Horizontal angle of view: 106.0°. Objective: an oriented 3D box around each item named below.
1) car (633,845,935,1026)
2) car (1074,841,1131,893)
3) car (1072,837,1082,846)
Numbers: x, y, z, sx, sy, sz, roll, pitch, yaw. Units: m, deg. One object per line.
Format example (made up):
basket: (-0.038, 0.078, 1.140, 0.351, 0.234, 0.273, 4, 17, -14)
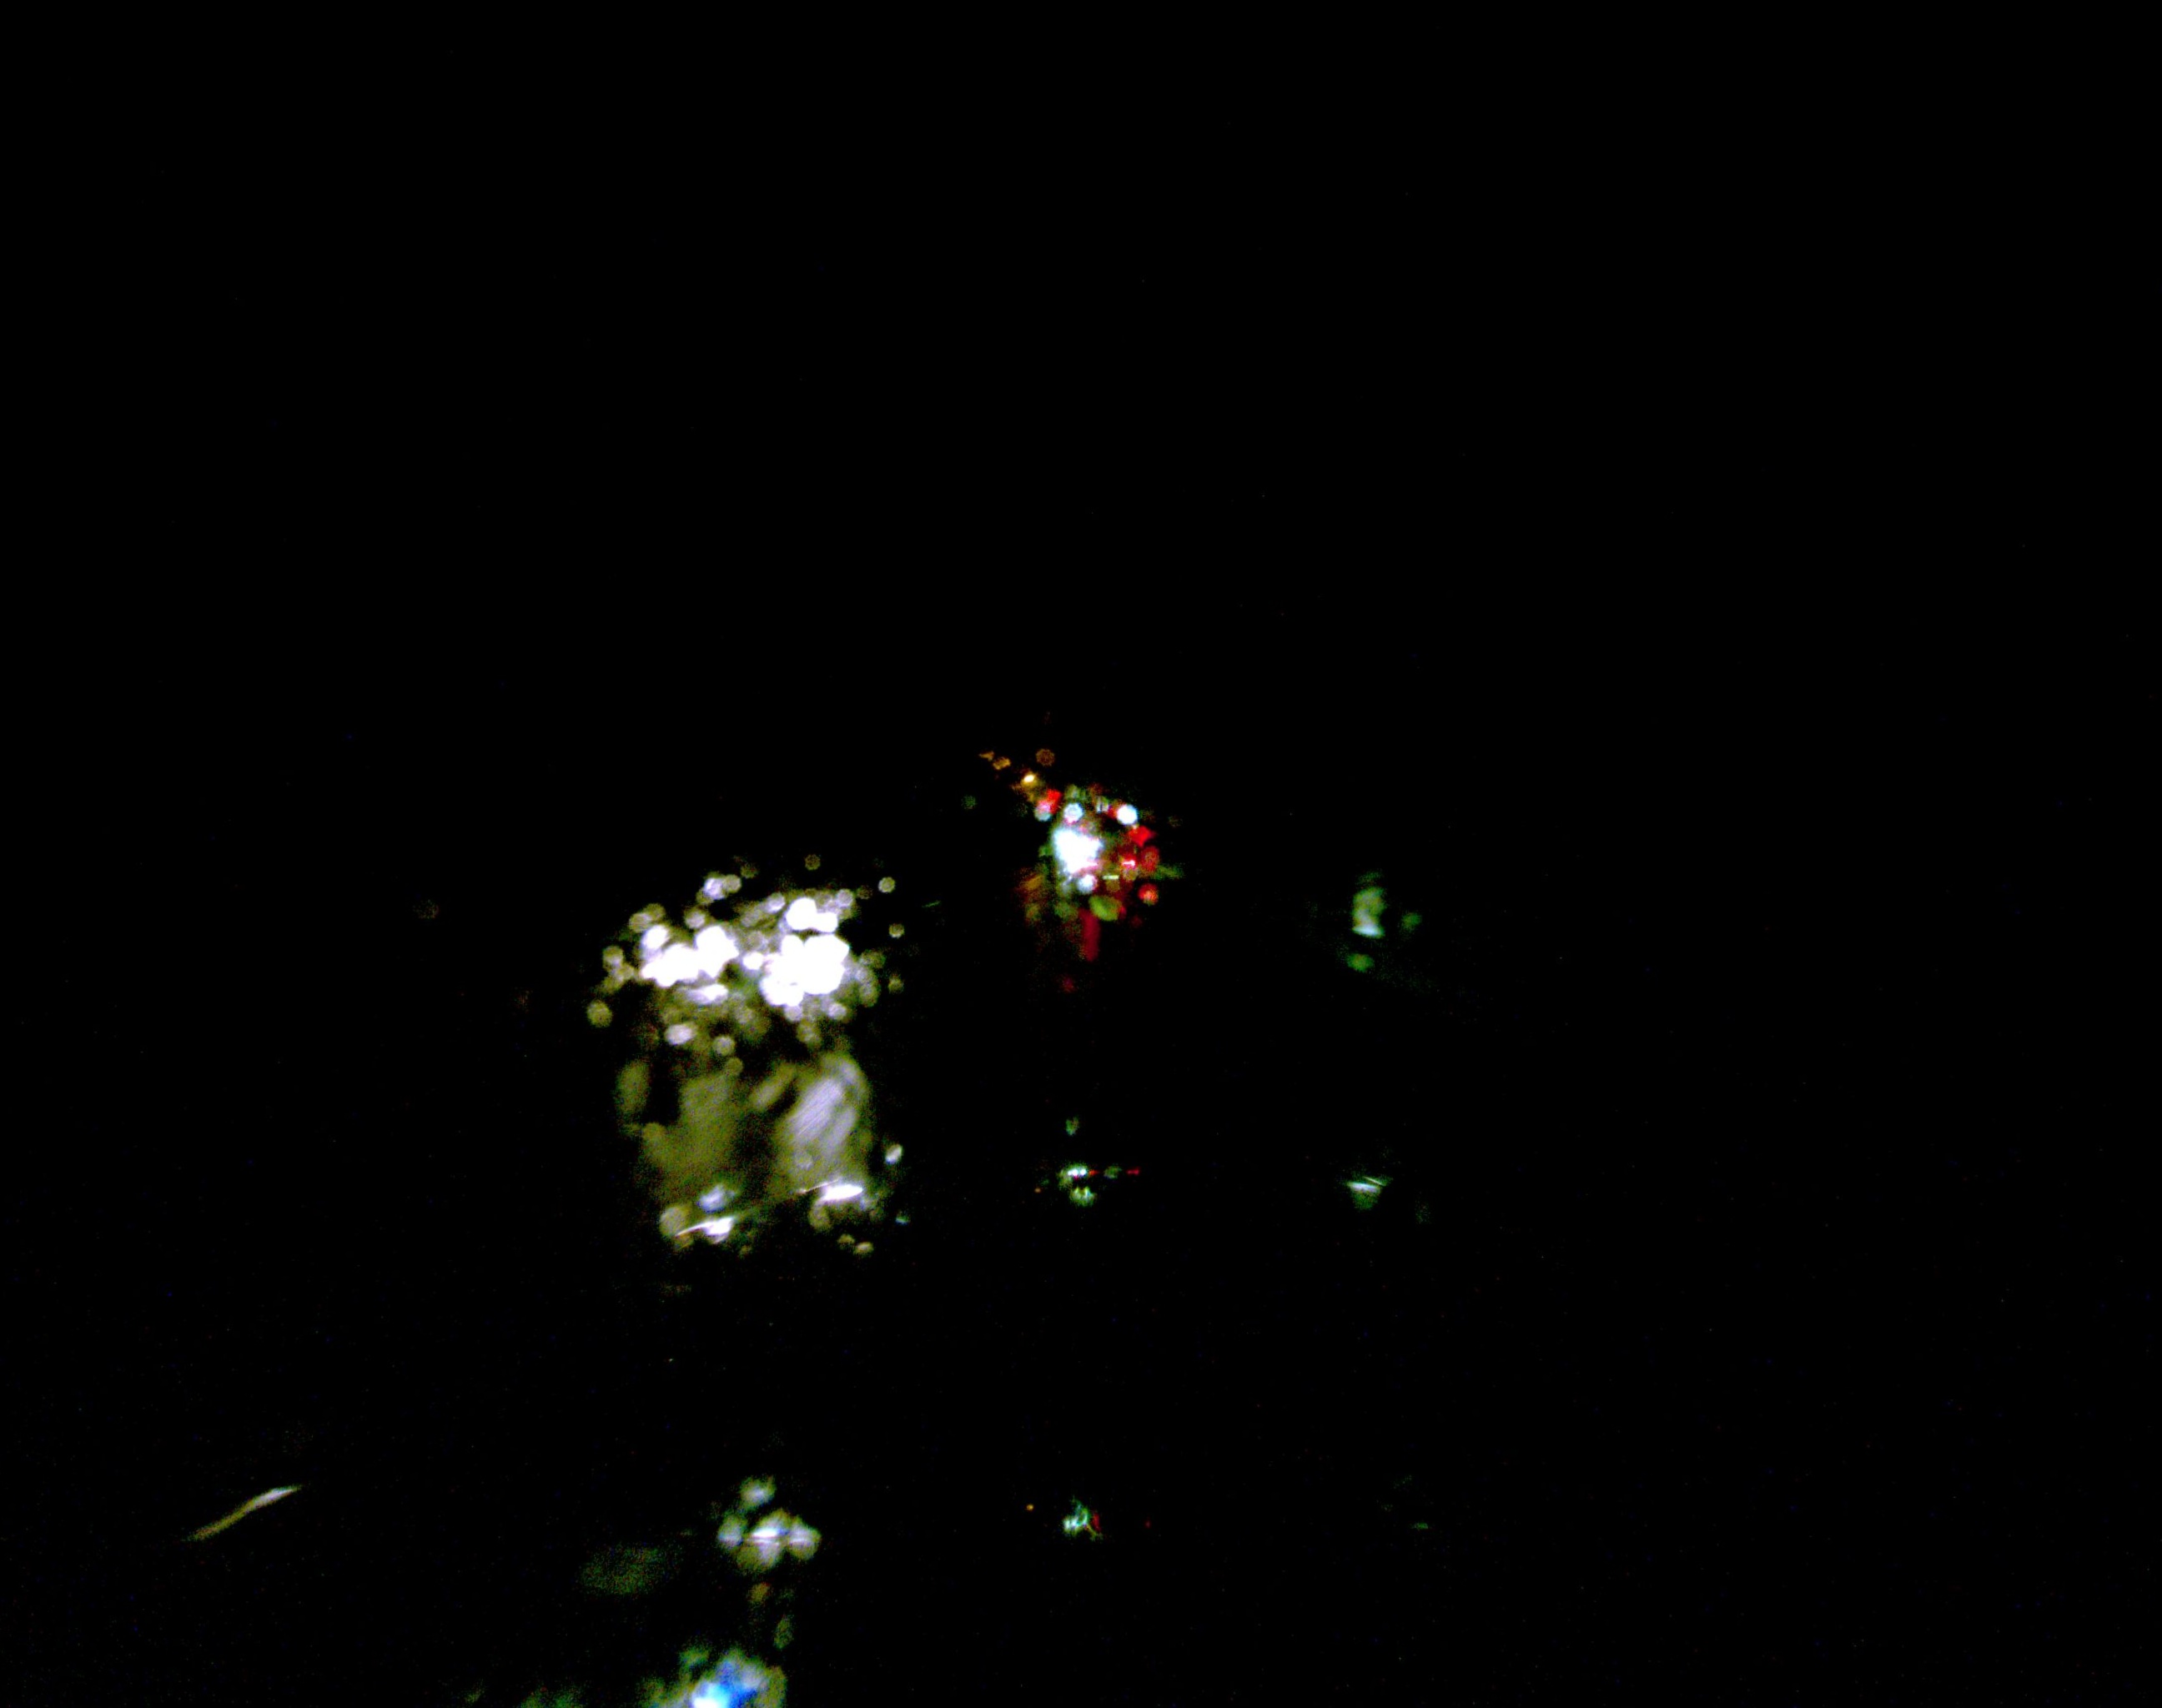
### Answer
car: (-2.846, 0.693, 8.725, 1.795, 1.509, 3.616, 1, 0, 1)
car: (0.749, 0.403, 27.711, 1.795, 1.628, 3.617, 1, 0, 2)
car: (-0.662, -2.046, 137.153, 1.726, 1.518, 4.016, -1, 0, 1)
